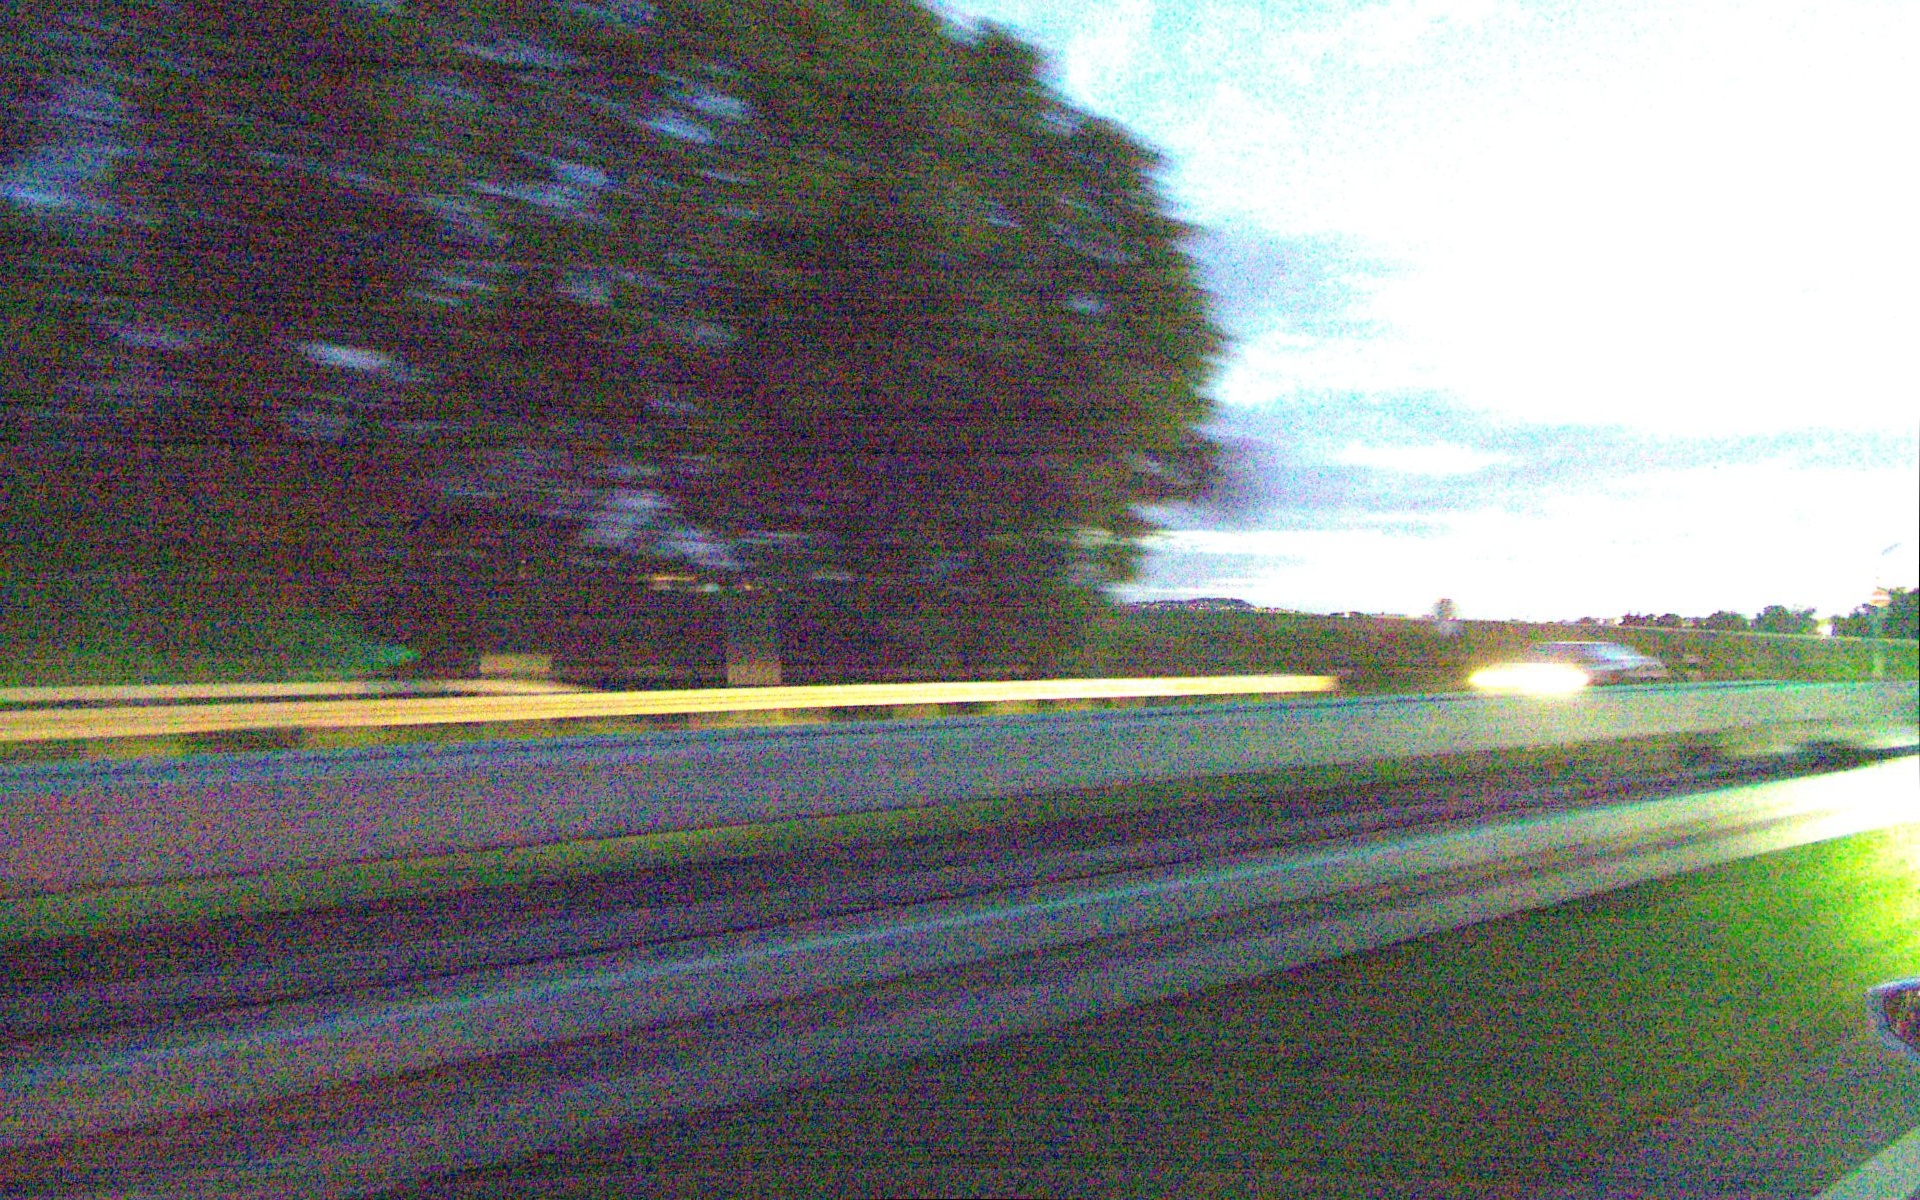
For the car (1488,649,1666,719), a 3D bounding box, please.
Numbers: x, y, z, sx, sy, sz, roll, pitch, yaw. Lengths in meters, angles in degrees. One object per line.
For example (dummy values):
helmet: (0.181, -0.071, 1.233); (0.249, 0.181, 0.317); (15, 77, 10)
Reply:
car: (12.956, 1.703, 21.046); (3.895, 1.347, 1.597); (2, -3, -32)
